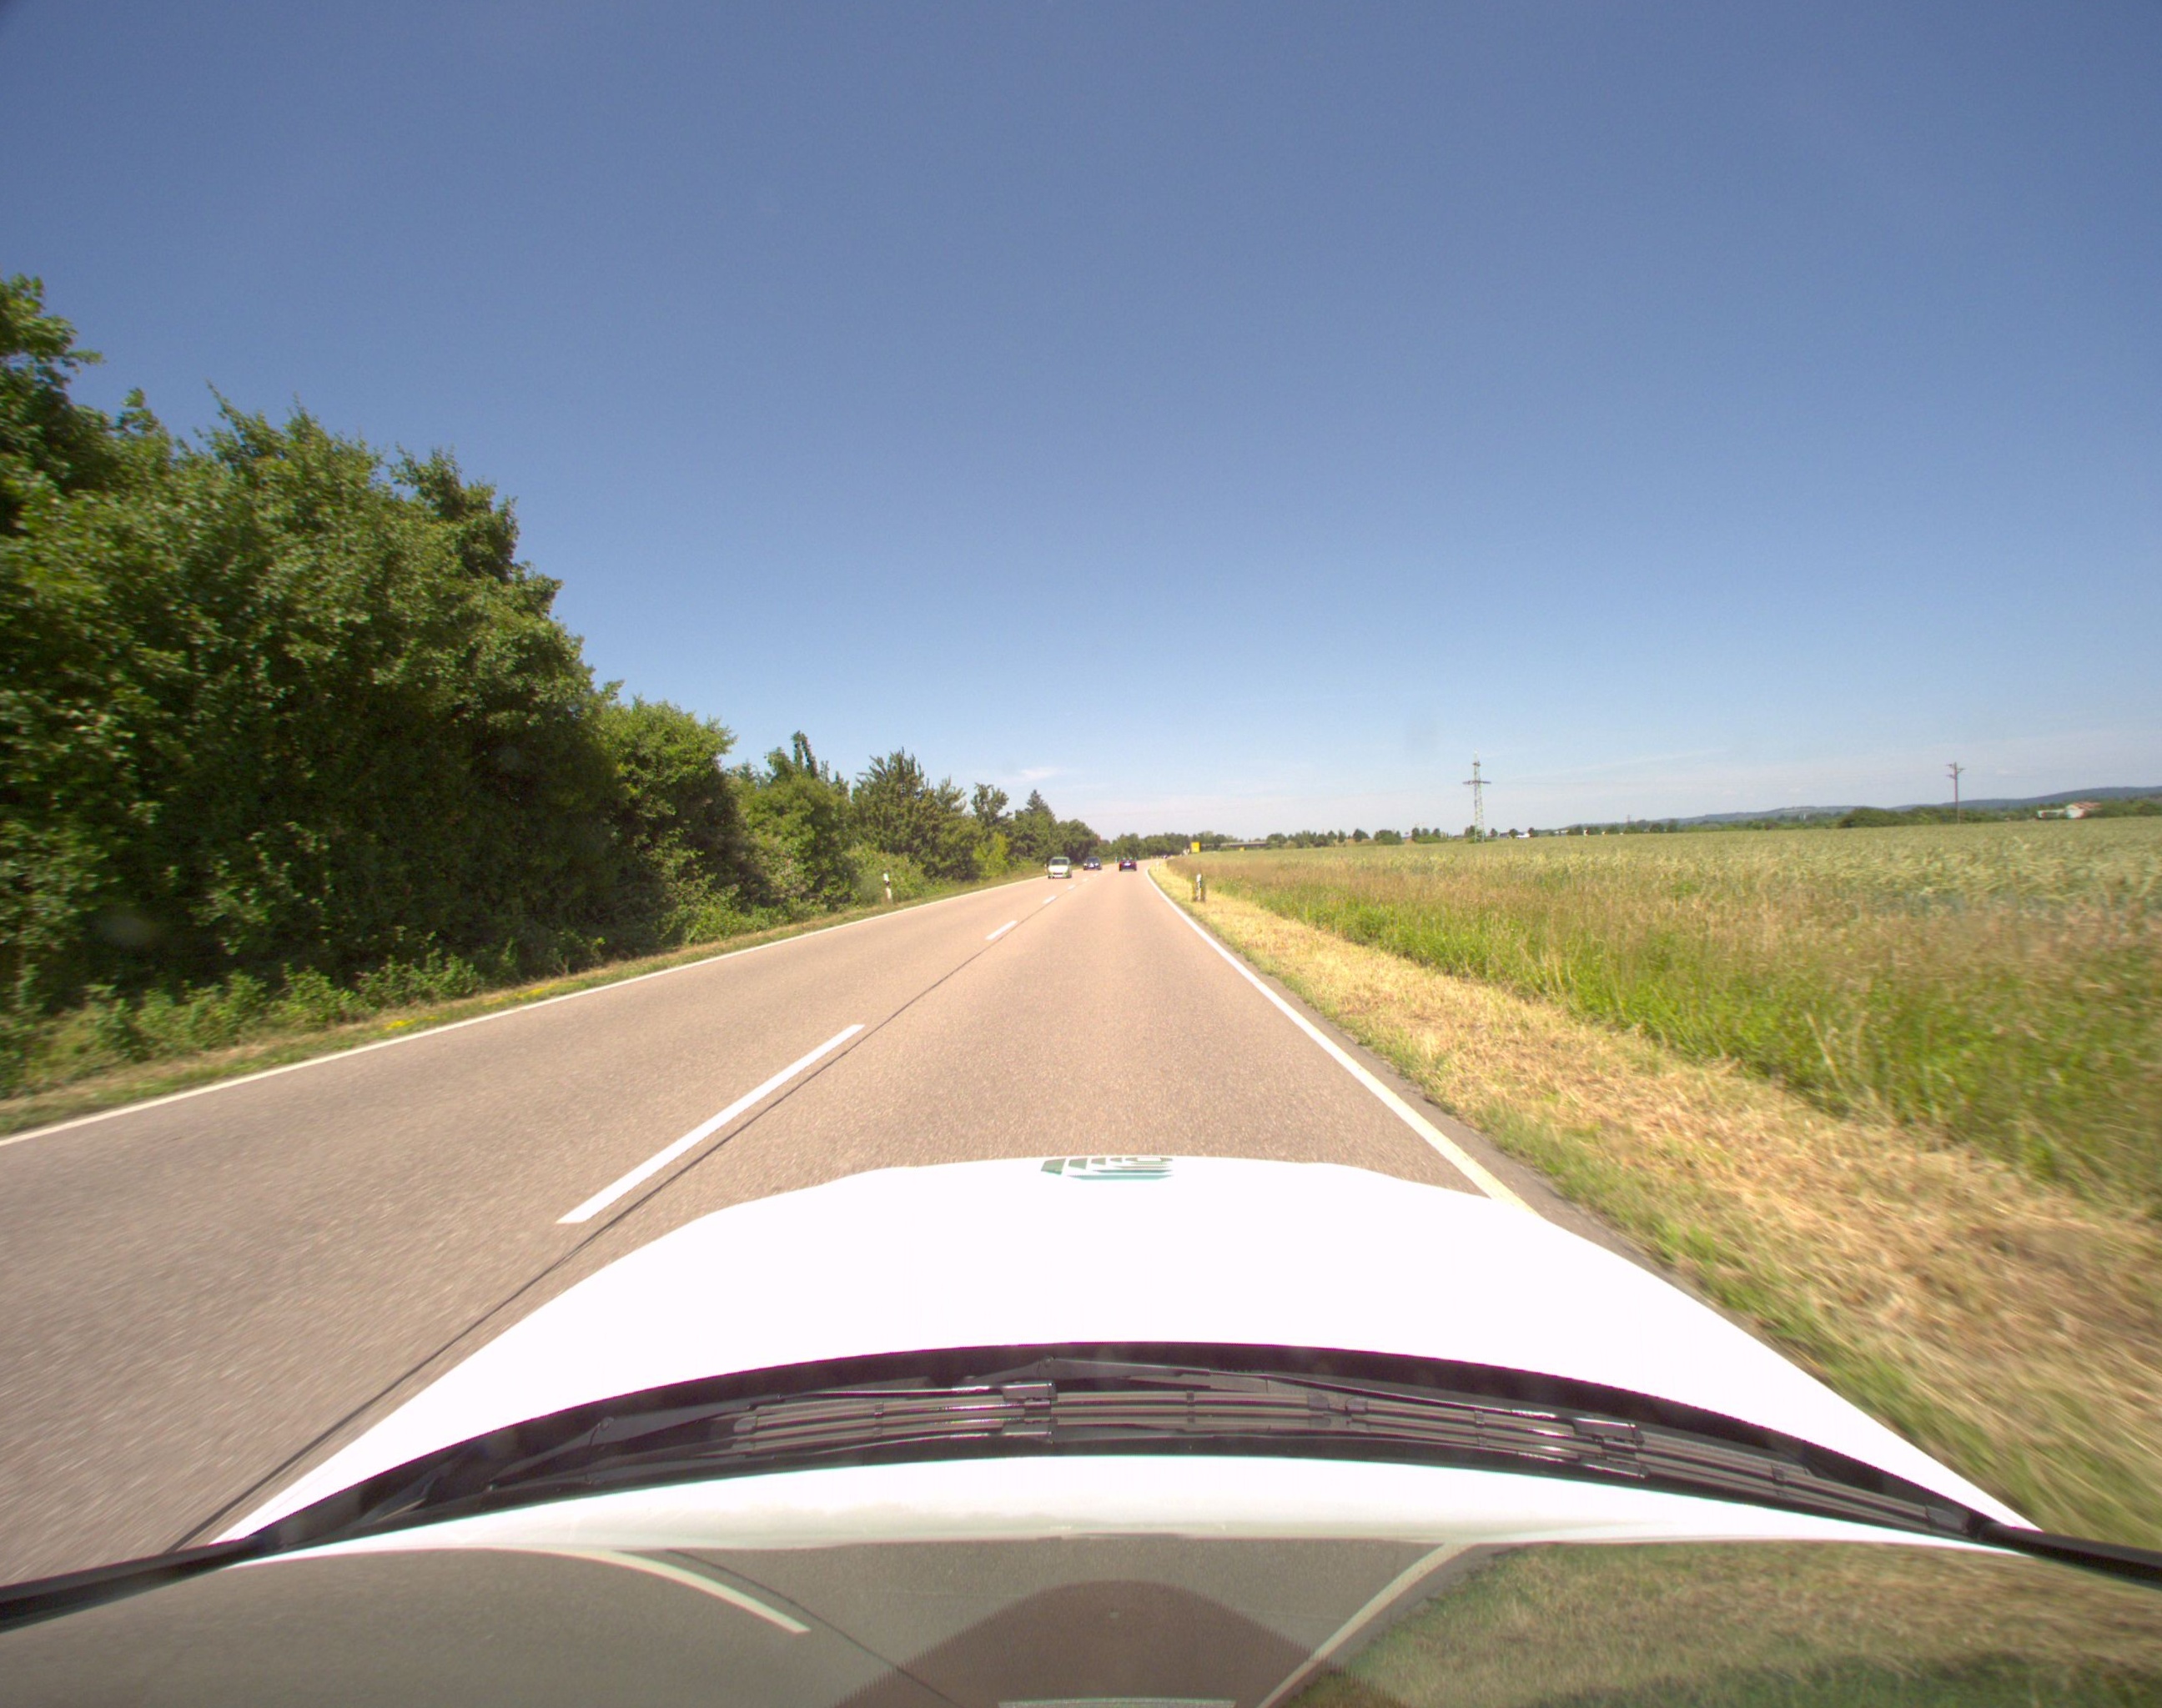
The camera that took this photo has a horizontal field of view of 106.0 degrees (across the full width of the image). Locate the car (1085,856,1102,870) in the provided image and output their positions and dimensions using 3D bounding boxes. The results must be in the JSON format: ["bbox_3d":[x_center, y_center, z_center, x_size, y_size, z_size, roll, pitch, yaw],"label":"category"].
[{"bbox_3d":[1.407,0.988,90.871,1.793,1.450,4.536,-1,0,2],"label":"car"}]

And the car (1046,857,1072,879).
[{"bbox_3d":[-1.541,1.004,59.033,1.490,1.495,3.836,-1,0,4],"label":"car"}]

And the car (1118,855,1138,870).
[{"bbox_3d":[4.745,0.857,82.135,1.805,1.441,4.006,-1,0,6],"label":"car"}]
